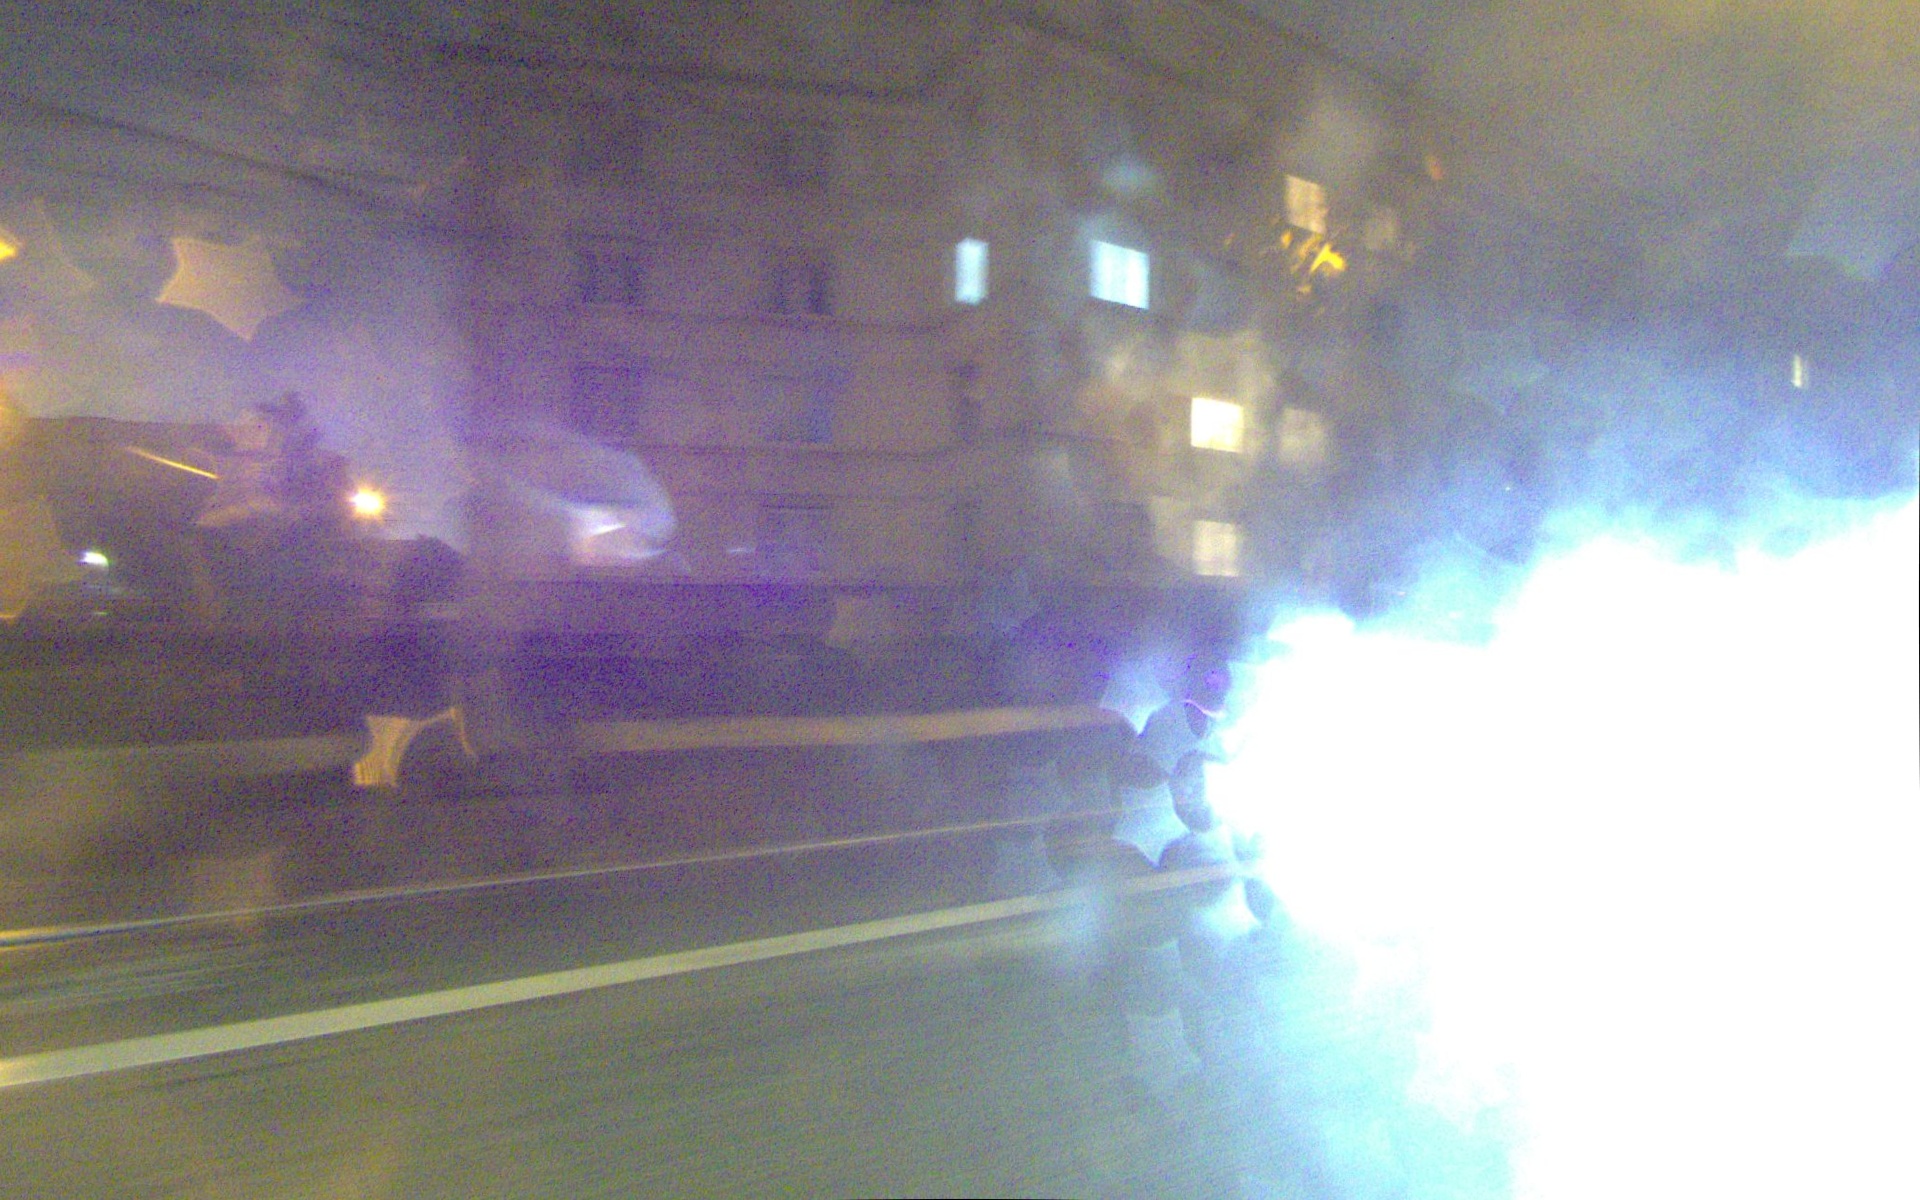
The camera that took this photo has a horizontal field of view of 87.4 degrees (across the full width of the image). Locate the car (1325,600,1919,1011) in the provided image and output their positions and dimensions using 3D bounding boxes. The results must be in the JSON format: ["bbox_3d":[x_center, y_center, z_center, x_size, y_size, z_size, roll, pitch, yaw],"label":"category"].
[{"bbox_3d":[4.188,0.779,5.464,4.459,1.454,1.667,1,1,-30],"label":"car"}]

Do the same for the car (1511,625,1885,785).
[{"bbox_3d":[8.275,1.057,11.160,4.588,1.476,1.571,1,-4,-30],"label":"car"}]

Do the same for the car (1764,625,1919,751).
[{"bbox_3d":[13.381,1.169,14.194,4.247,1.556,1.606,1,-4,-29],"label":"car"}]
